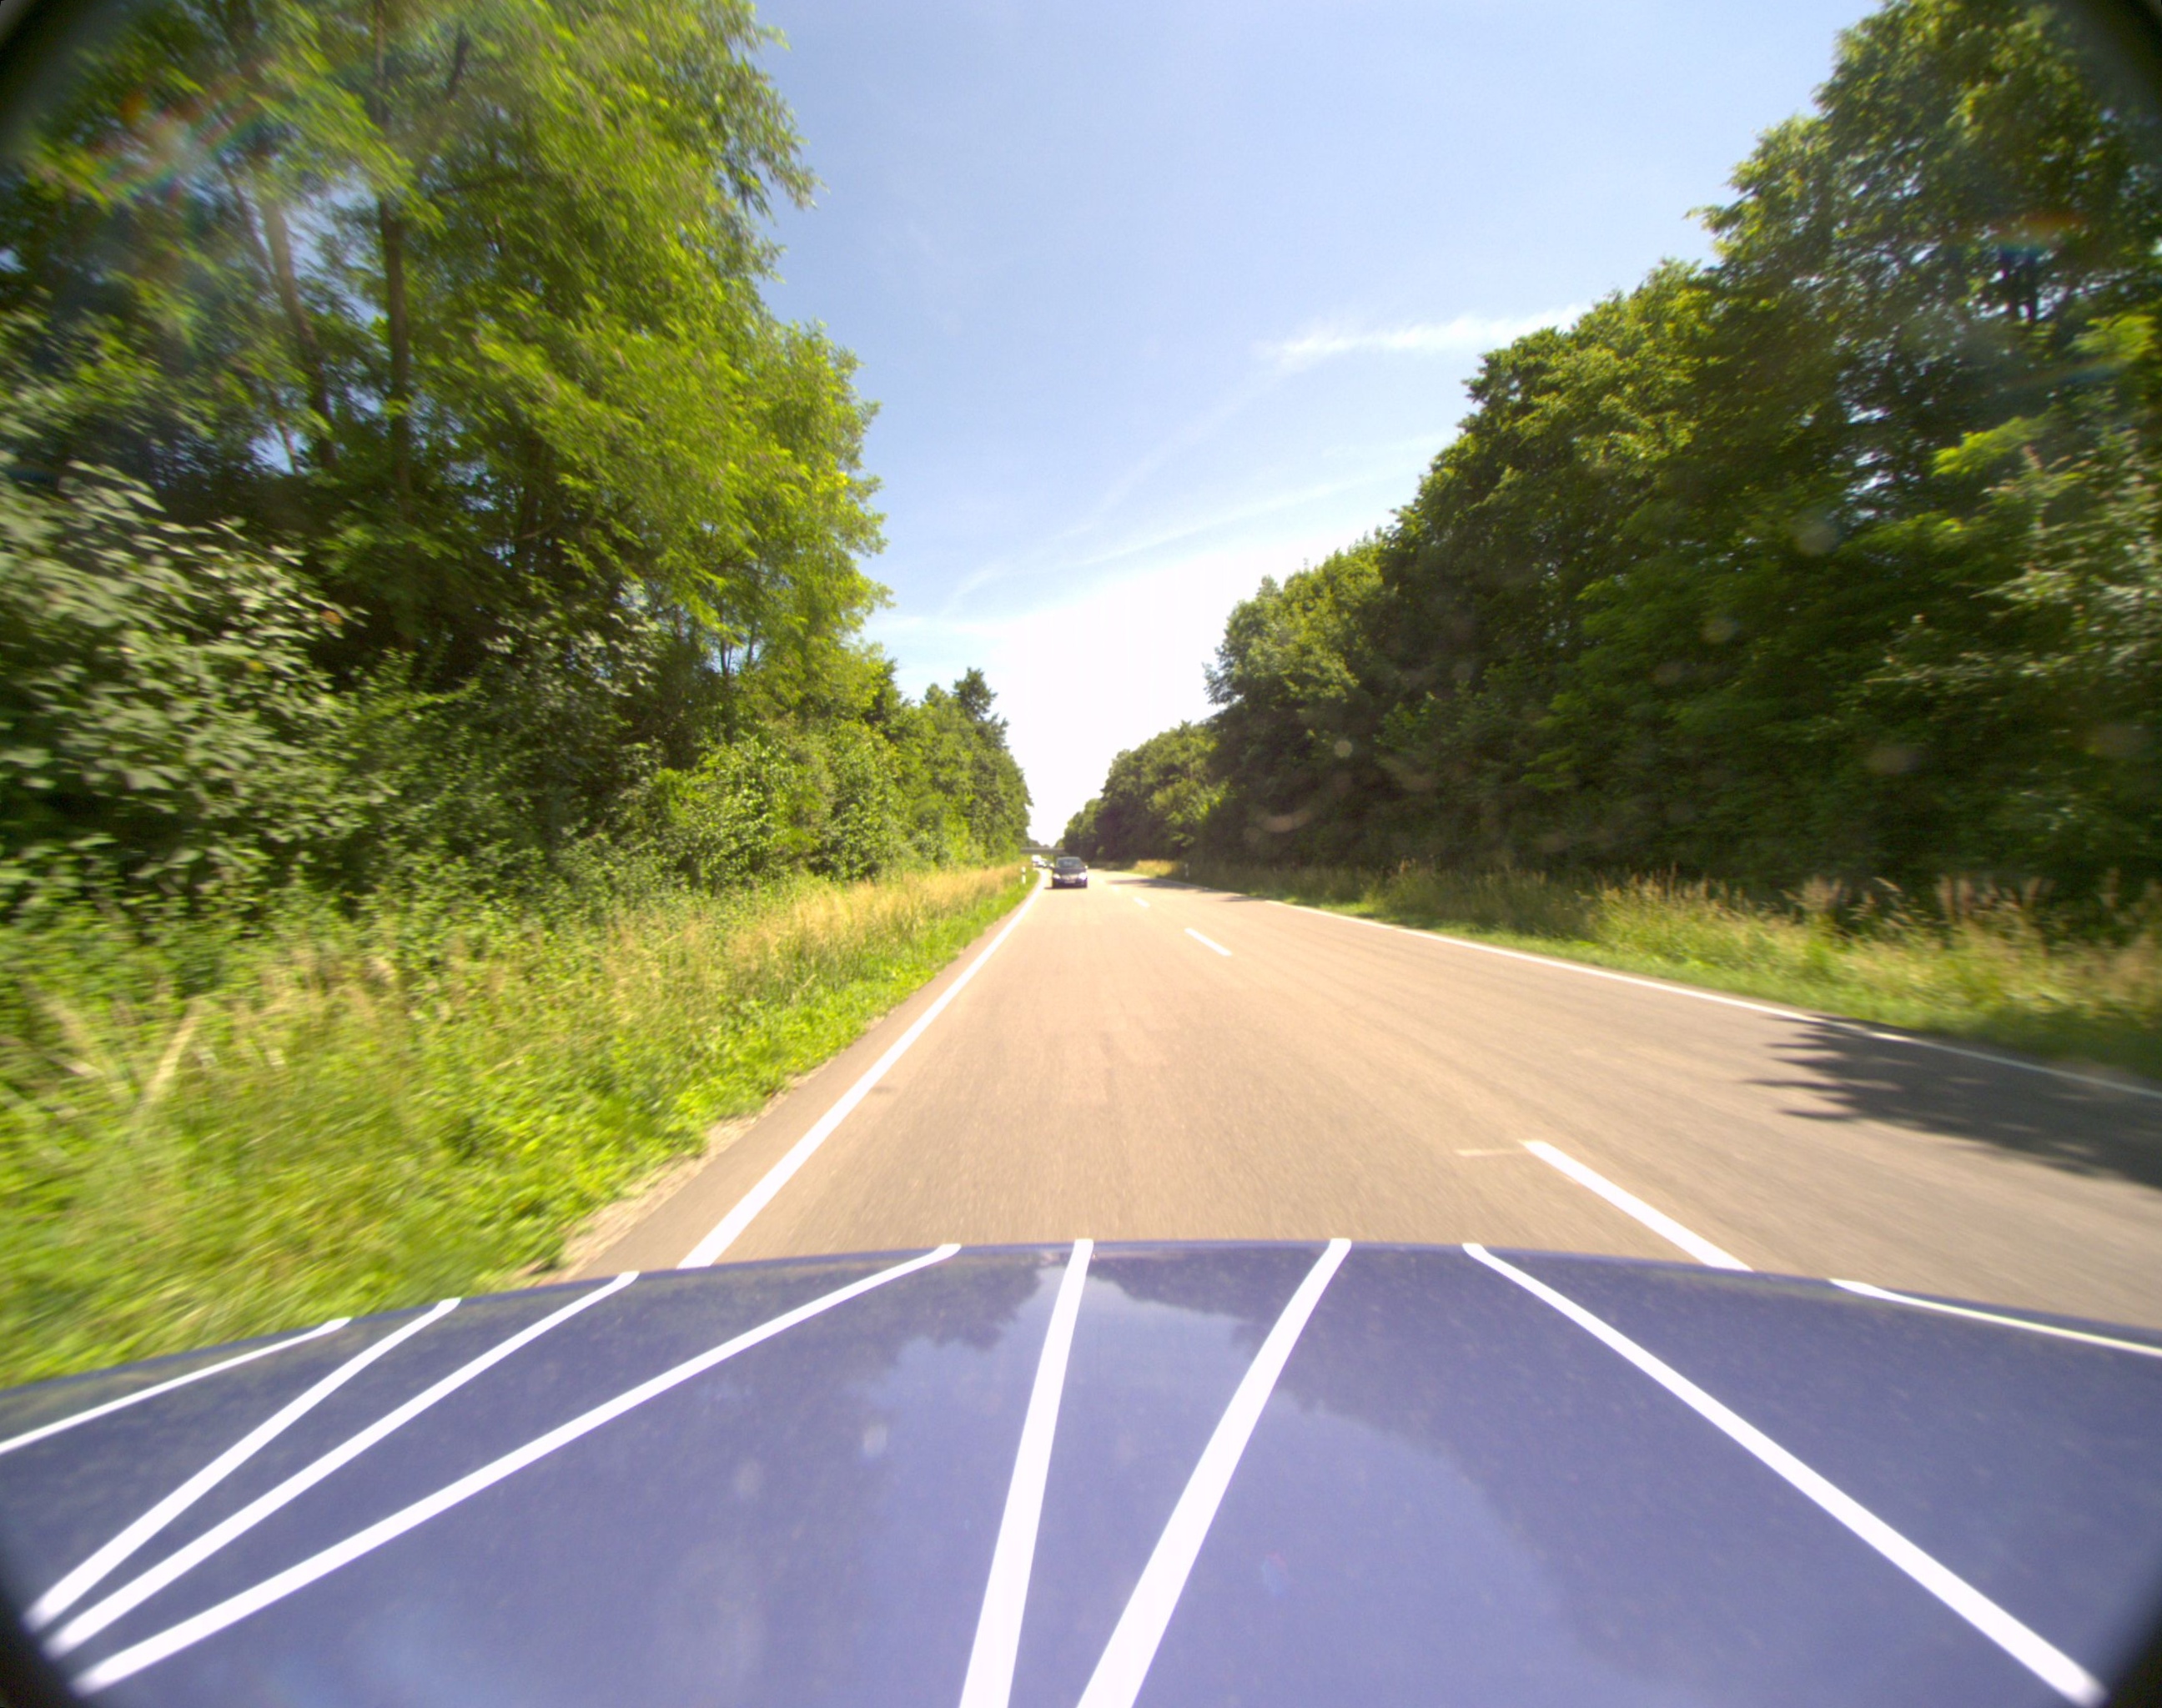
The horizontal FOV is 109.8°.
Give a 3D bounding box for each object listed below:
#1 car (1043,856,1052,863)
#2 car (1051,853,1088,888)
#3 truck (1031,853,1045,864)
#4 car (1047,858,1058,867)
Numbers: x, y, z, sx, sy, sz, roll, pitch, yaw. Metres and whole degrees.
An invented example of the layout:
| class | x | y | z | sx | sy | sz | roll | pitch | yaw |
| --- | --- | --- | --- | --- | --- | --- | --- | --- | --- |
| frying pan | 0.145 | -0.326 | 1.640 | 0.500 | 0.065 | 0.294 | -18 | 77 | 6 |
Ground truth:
| class | x | y | z | sx | sy | sz | roll | pitch | yaw |
| --- | --- | --- | --- | --- | --- | --- | --- | --- | --- |
| car | -7.379 | 1.136 | 166.639 | 1.710 | 1.523 | 4.777 | -2 | 0 | -4 |
| car | -0.632 | 0.860 | 39.713 | 1.784 | 1.675 | 4.779 | -1 | -1 | -2 |
| truck | -13.576 | 1.457 | 238.190 | 2.580 | 3.111 | 11.189 | -2 | 0 | -11 |
| car | -5.034 | 1.444 | 132.215 | 1.710 | 1.523 | 4.777 | -2 | 0 | -4 |
